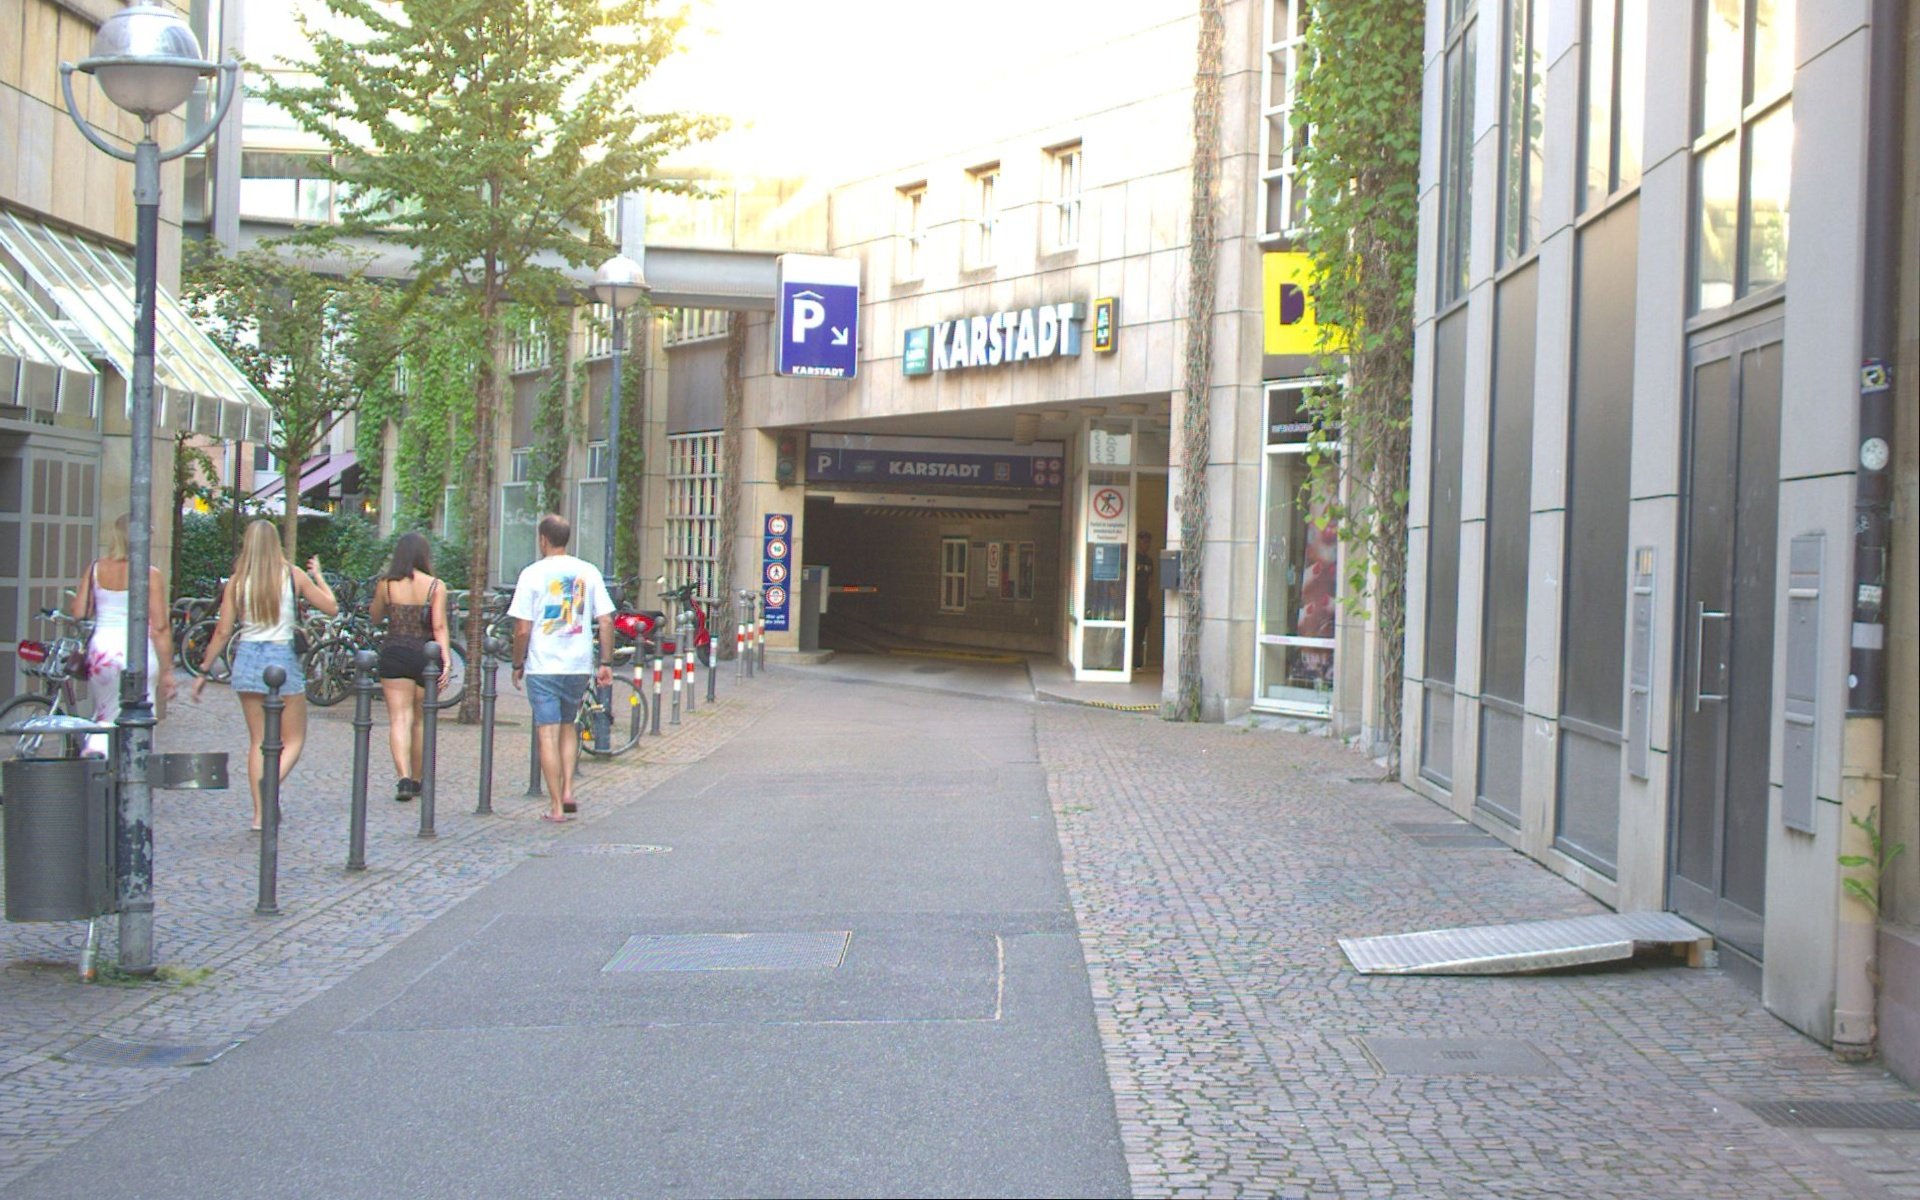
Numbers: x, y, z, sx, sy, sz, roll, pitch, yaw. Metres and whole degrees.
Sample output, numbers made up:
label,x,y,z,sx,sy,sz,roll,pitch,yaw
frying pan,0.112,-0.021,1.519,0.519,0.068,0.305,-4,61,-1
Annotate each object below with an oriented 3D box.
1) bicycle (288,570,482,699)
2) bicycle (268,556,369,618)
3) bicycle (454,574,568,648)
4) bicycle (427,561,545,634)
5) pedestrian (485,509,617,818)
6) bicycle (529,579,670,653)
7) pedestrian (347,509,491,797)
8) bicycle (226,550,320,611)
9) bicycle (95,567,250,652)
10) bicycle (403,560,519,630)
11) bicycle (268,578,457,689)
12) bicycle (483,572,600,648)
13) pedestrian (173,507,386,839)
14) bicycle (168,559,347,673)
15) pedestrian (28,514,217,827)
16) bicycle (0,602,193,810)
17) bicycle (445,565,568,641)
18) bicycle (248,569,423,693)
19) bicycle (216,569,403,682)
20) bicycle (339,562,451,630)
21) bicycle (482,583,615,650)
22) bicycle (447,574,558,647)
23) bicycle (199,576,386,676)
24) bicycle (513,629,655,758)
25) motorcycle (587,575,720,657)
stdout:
label,x,y,z,sx,sy,sz,roll,pitch,yaw
bicycle,-5.580,0.336,33.395,1.766,1.226,0.534,1,1,-22
bicycle,-11.921,-0.243,63.912,1.773,1.110,0.543,1,1,-17
bicycle,-6.527,0.157,49.967,1.539,1.045,0.575,1,1,-20
bicycle,-7.559,-0.038,54.819,1.773,1.110,0.543,1,1,-20
pedestrian,-2.470,0.372,20.834,0.742,1.816,0.878,1,1,-6
bicycle,-4.950,0.224,47.177,1.847,0.979,0.464,1,1,-20
pedestrian,-3.457,0.324,21.932,0.785,1.789,0.972,1,1,-14
bicycle,-13.807,-0.387,69.118,1.773,1.186,0.586,1,1,-20
bicycle,-9.914,0.122,43.297,1.824,1.039,0.534,1,1,-22
bicycle,-8.104,-0.080,55.853,1.773,1.110,0.543,1,1,-20
bicycle,-6.183,0.351,35.571,1.836,1.118,0.534,1,1,-22
bicycle,-5.963,0.138,48.959,1.539,1.045,0.575,1,1,-20
pedestrian,-3.681,0.379,18.663,0.806,1.723,0.948,2,1,9
bicycle,-7.709,0.178,37.738,1.833,1.221,0.534,1,1,-22
pedestrian,-4.592,0.372,18.891,0.675,1.659,0.860,2,1,10
bicycle,-5.164,0.592,20.094,0.522,1.134,1.763,2,1,16
bicycle,-6.933,0.047,52.539,1.773,1.110,0.543,1,1,-20
bicycle,-6.297,0.317,34.679,1.653,1.226,0.534,1,1,-22
bicycle,-6.912,0.276,36.529,1.872,1.173,0.534,1,1,-22
bicycle,-9.553,-0.071,58.121,1.773,1.110,0.543,1,1,-20
bicycle,-5.749,0.230,48.034,1.773,0.901,0.464,1,1,-20
bicycle,-6.835,0.155,51.365,1.539,1.045,0.575,1,1,-20
bicycle,-7.192,0.283,37.062,1.893,1.048,0.534,1,1,-22
bicycle,-2.932,0.717,26.934,0.493,0.935,1.658,3,1,15
motorcycle,-4.054,0.208,45.482,1.662,1.047,0.464,1,1,-20
